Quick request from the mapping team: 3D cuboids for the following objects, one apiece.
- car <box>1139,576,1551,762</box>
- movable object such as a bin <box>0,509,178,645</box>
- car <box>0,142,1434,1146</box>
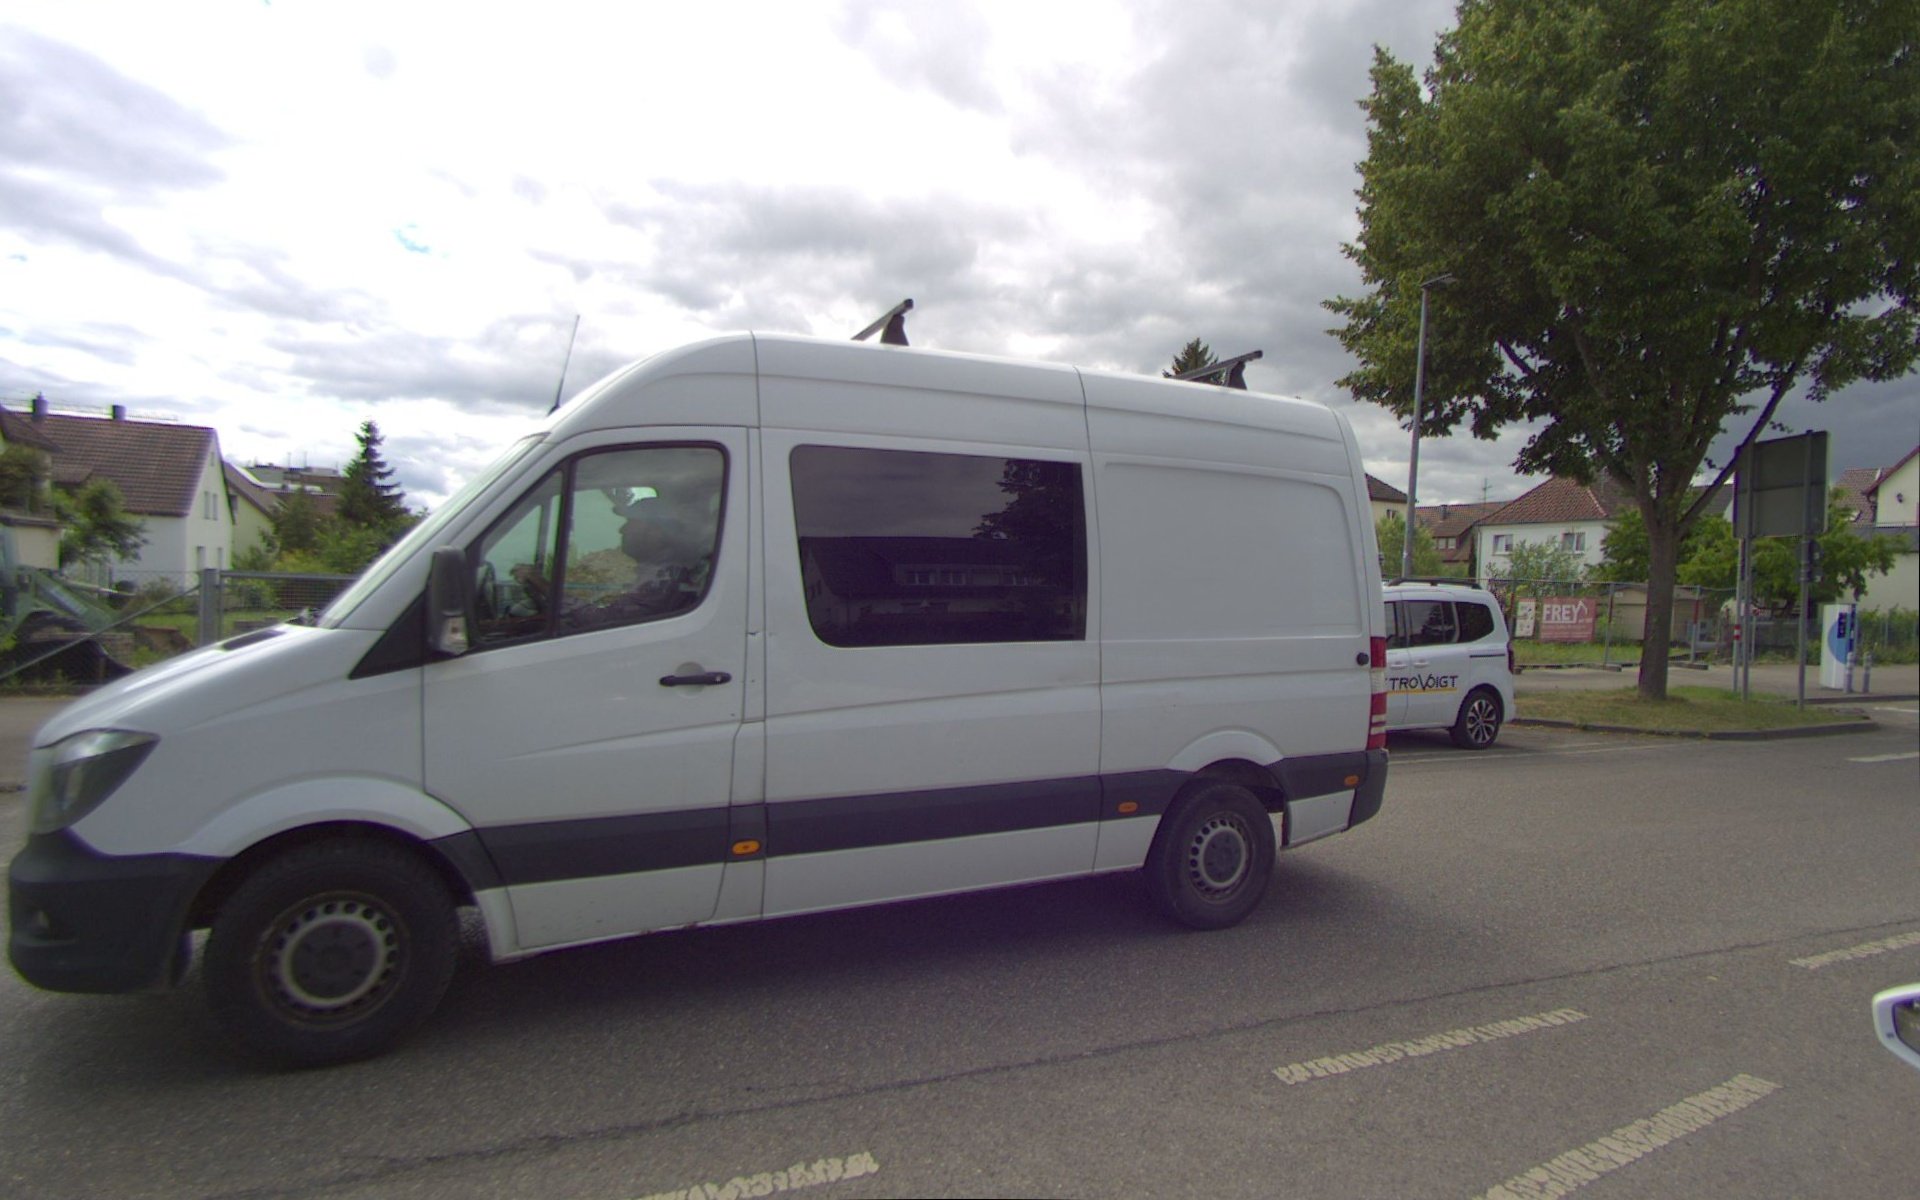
[{"bbox_3d":[4.418,0.692,11.426,4.491,1.794,1.764,1,1,-26],"label":"car"},{"bbox_3d":[-16.181,-0.395,17.041,4.310,2.217,1.887,1,0,-30],"label":"movable object such as a bin"},{"bbox_3d":[-0.601,0.166,4.805,5.729,2.710,2.012,1,1,-26],"label":"car"}]
